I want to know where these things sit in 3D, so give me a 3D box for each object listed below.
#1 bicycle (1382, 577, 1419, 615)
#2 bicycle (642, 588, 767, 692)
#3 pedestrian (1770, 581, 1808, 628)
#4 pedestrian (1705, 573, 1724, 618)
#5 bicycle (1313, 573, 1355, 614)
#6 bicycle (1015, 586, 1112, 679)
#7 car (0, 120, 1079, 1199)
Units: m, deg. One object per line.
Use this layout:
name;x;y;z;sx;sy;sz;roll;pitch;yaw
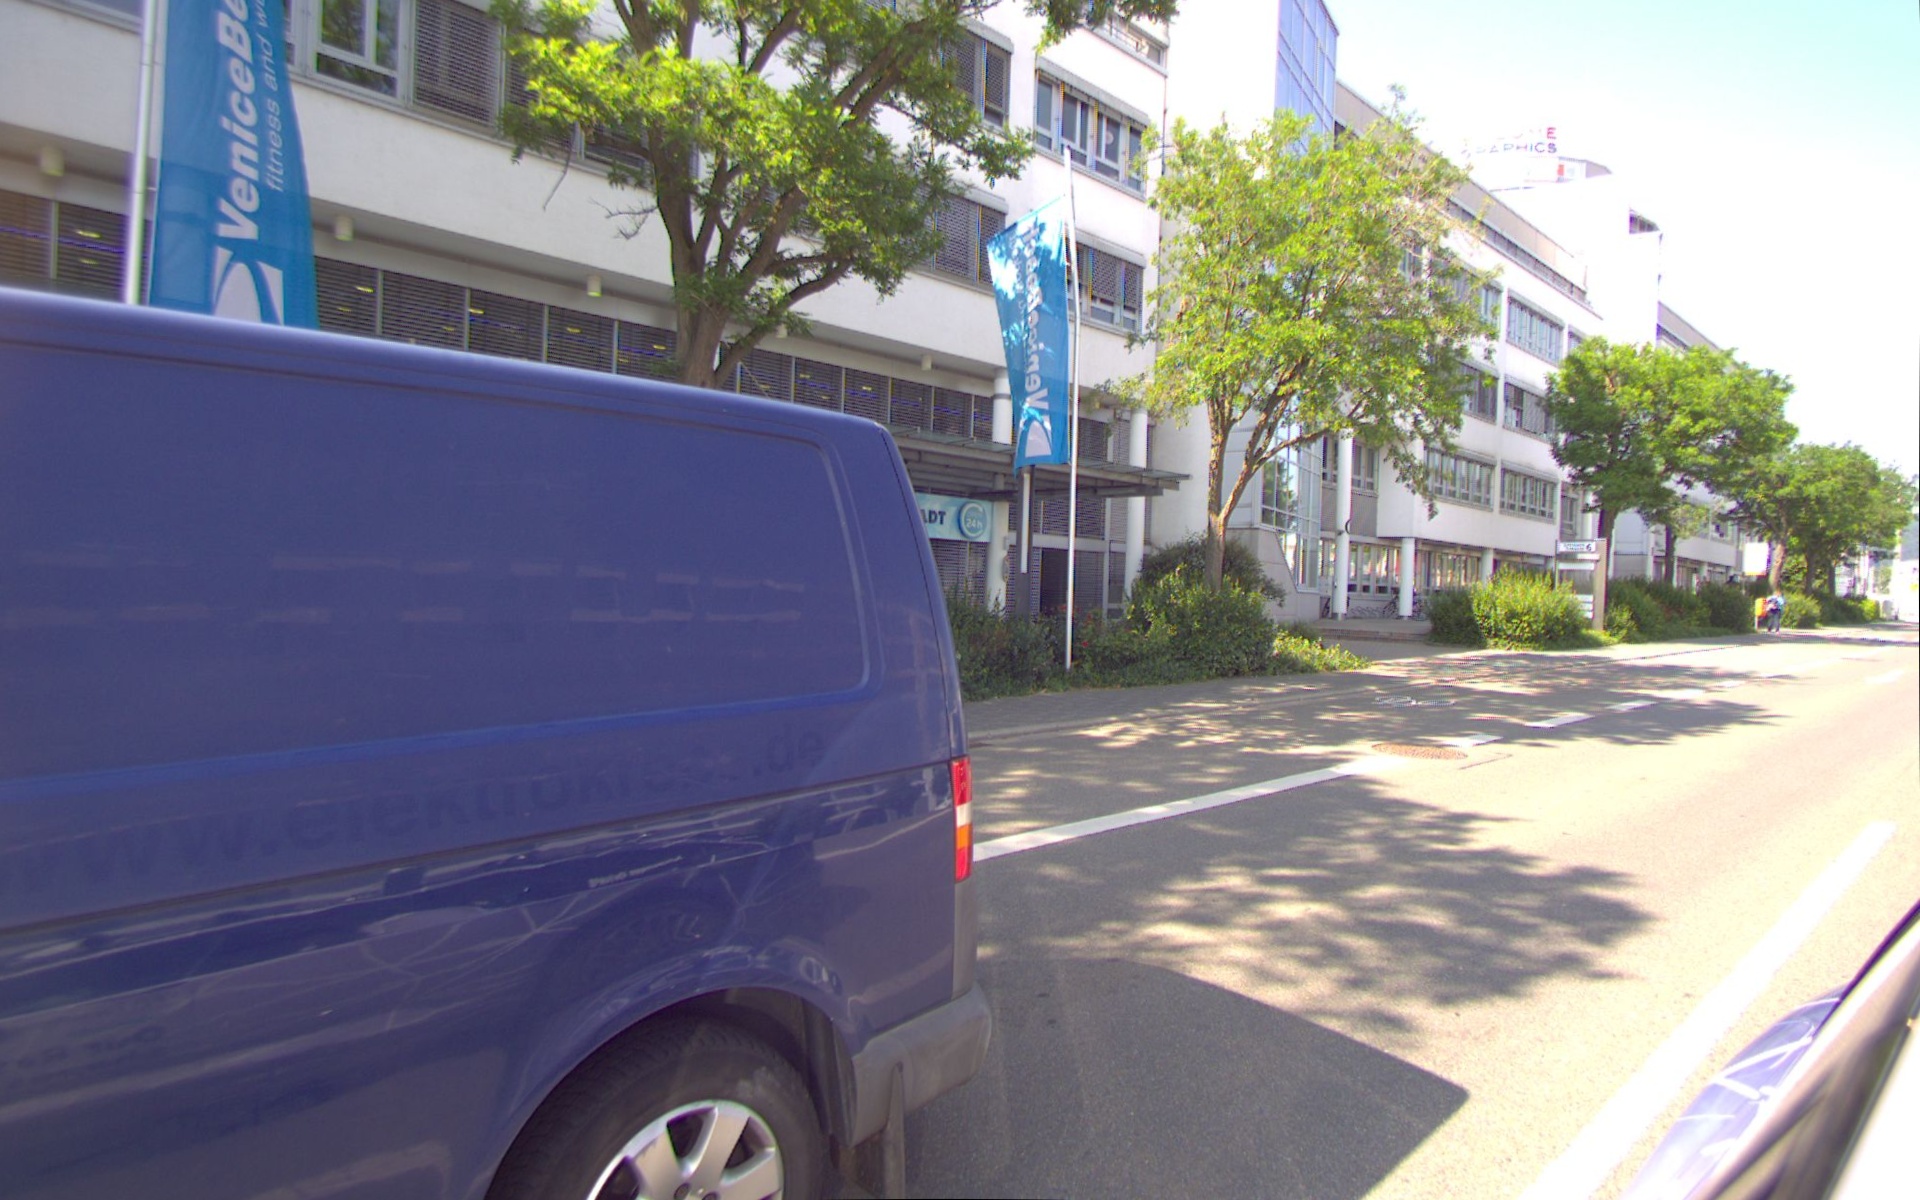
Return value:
bicycle;16.331;-0.146;37.506;1.852;1.371;0.506;0;1;-41
bicycle;-3.645;0.534;14.370;1.868;1.346;0.501;2;1;30
pedestrian;35.175;0.172;42.945;1.267;1.909;0.942;0;4;-41
pedestrian;43.414;-0.264;58.226;0.704;2.581;0.716;0;1;-43
bicycle;12.891;-0.215;34.883;1.852;1.371;0.506;0;1;-41
bicycle;1.631;0.477;15.763;0.504;1.346;1.856;2;1;41
car;-2.182;0.407;1.586;4.806;1.972;1.997;-1;2;-41
